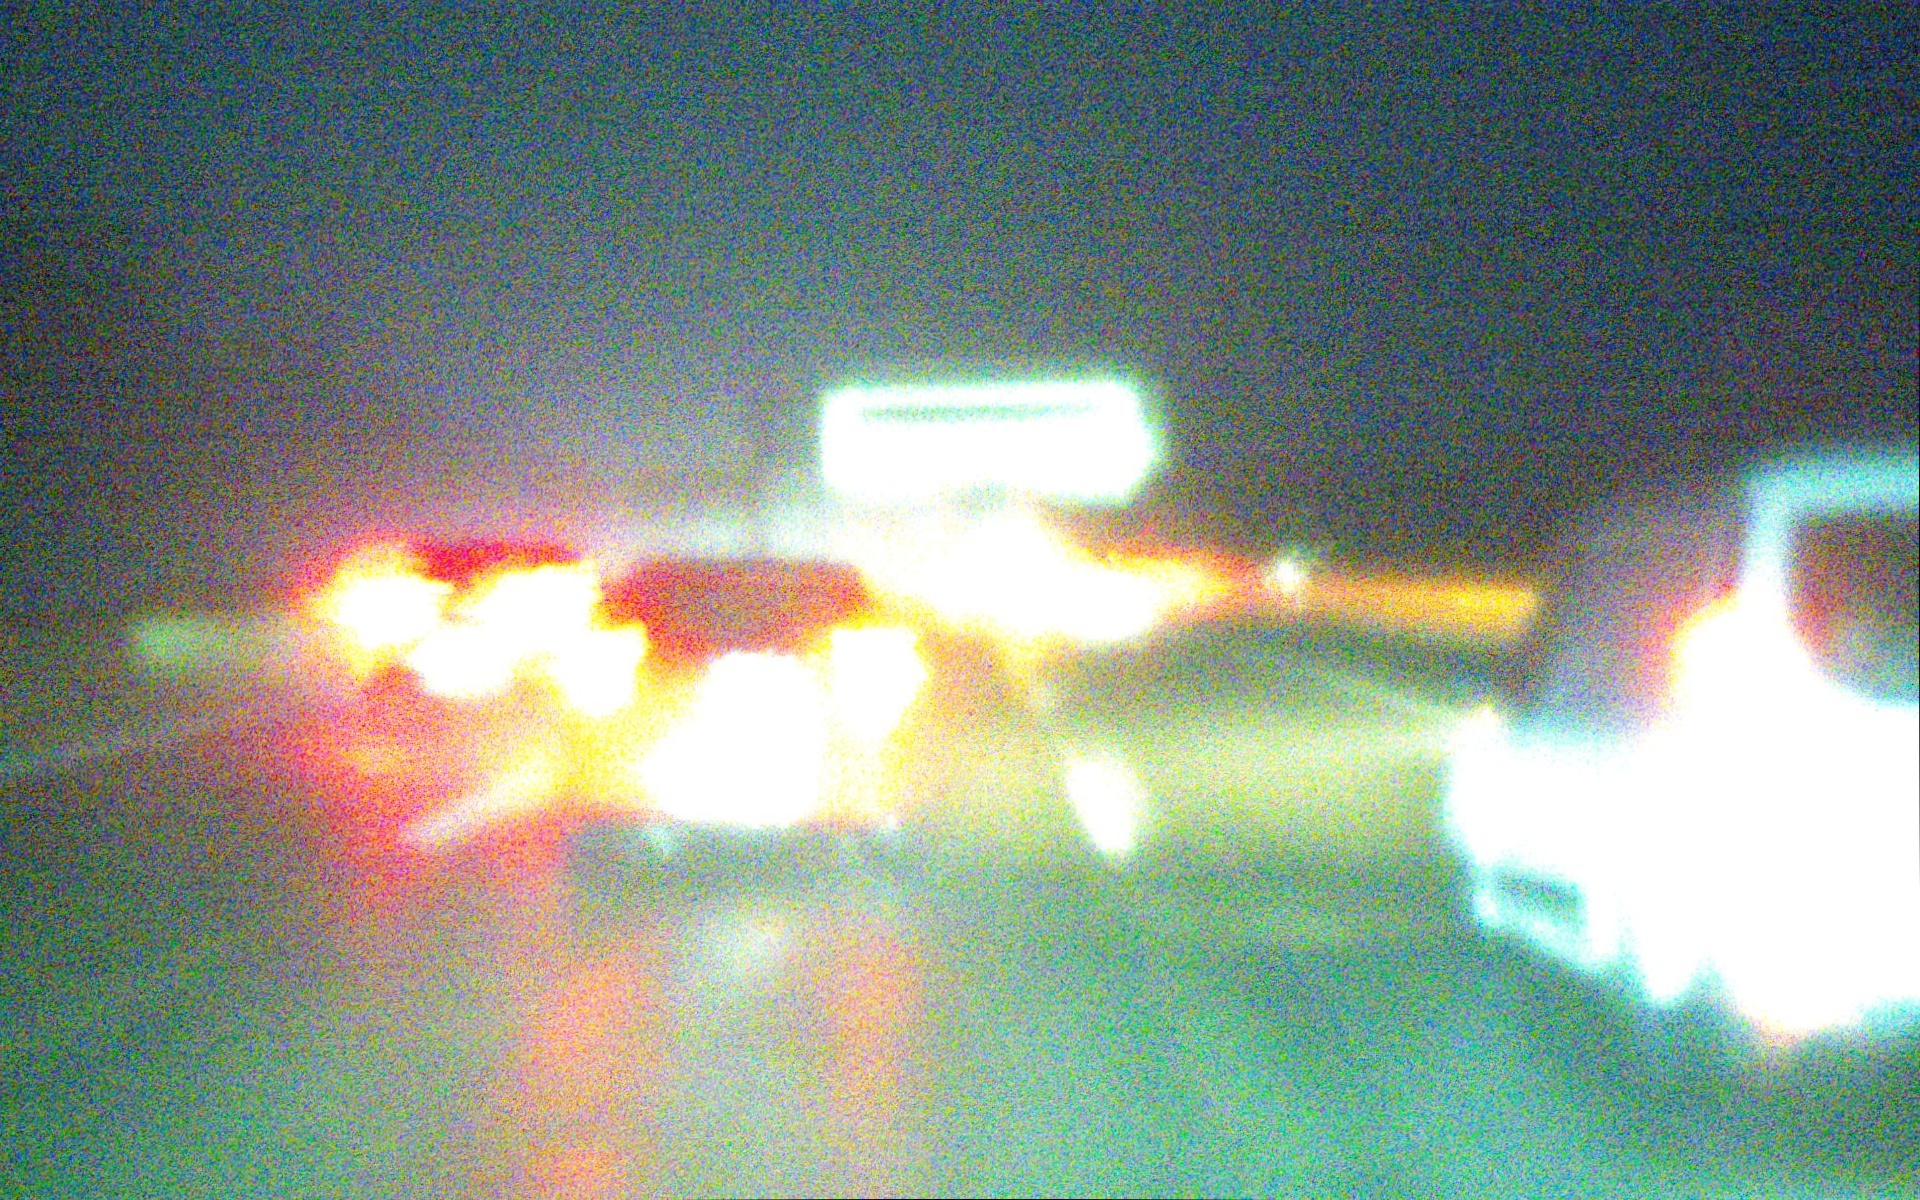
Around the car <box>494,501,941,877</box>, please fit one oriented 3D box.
[{"bbox_3d":[-1.088,0.389,17.347,1.916,1.589,4.233,-2,0,0],"label":"car"}]

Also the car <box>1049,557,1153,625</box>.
[{"bbox_3d":[2.909,-0.206,71.806,1.889,1.349,4.000,1,1,-1],"label":"car"}]

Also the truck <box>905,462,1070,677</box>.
[{"bbox_3d":[0.659,-0.826,97.729,4.167,5.525,13.074,-2,0,-1],"label":"truck"}]

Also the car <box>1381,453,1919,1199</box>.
[{"bbox_3d":[2.656,0.459,10.807,1.953,1.786,5.125,-2,2,0],"label":"car"}]

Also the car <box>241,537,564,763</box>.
[{"bbox_3d":[-4.845,0.398,30.574,1.993,1.771,4.887,-2,0,0],"label":"car"}]
